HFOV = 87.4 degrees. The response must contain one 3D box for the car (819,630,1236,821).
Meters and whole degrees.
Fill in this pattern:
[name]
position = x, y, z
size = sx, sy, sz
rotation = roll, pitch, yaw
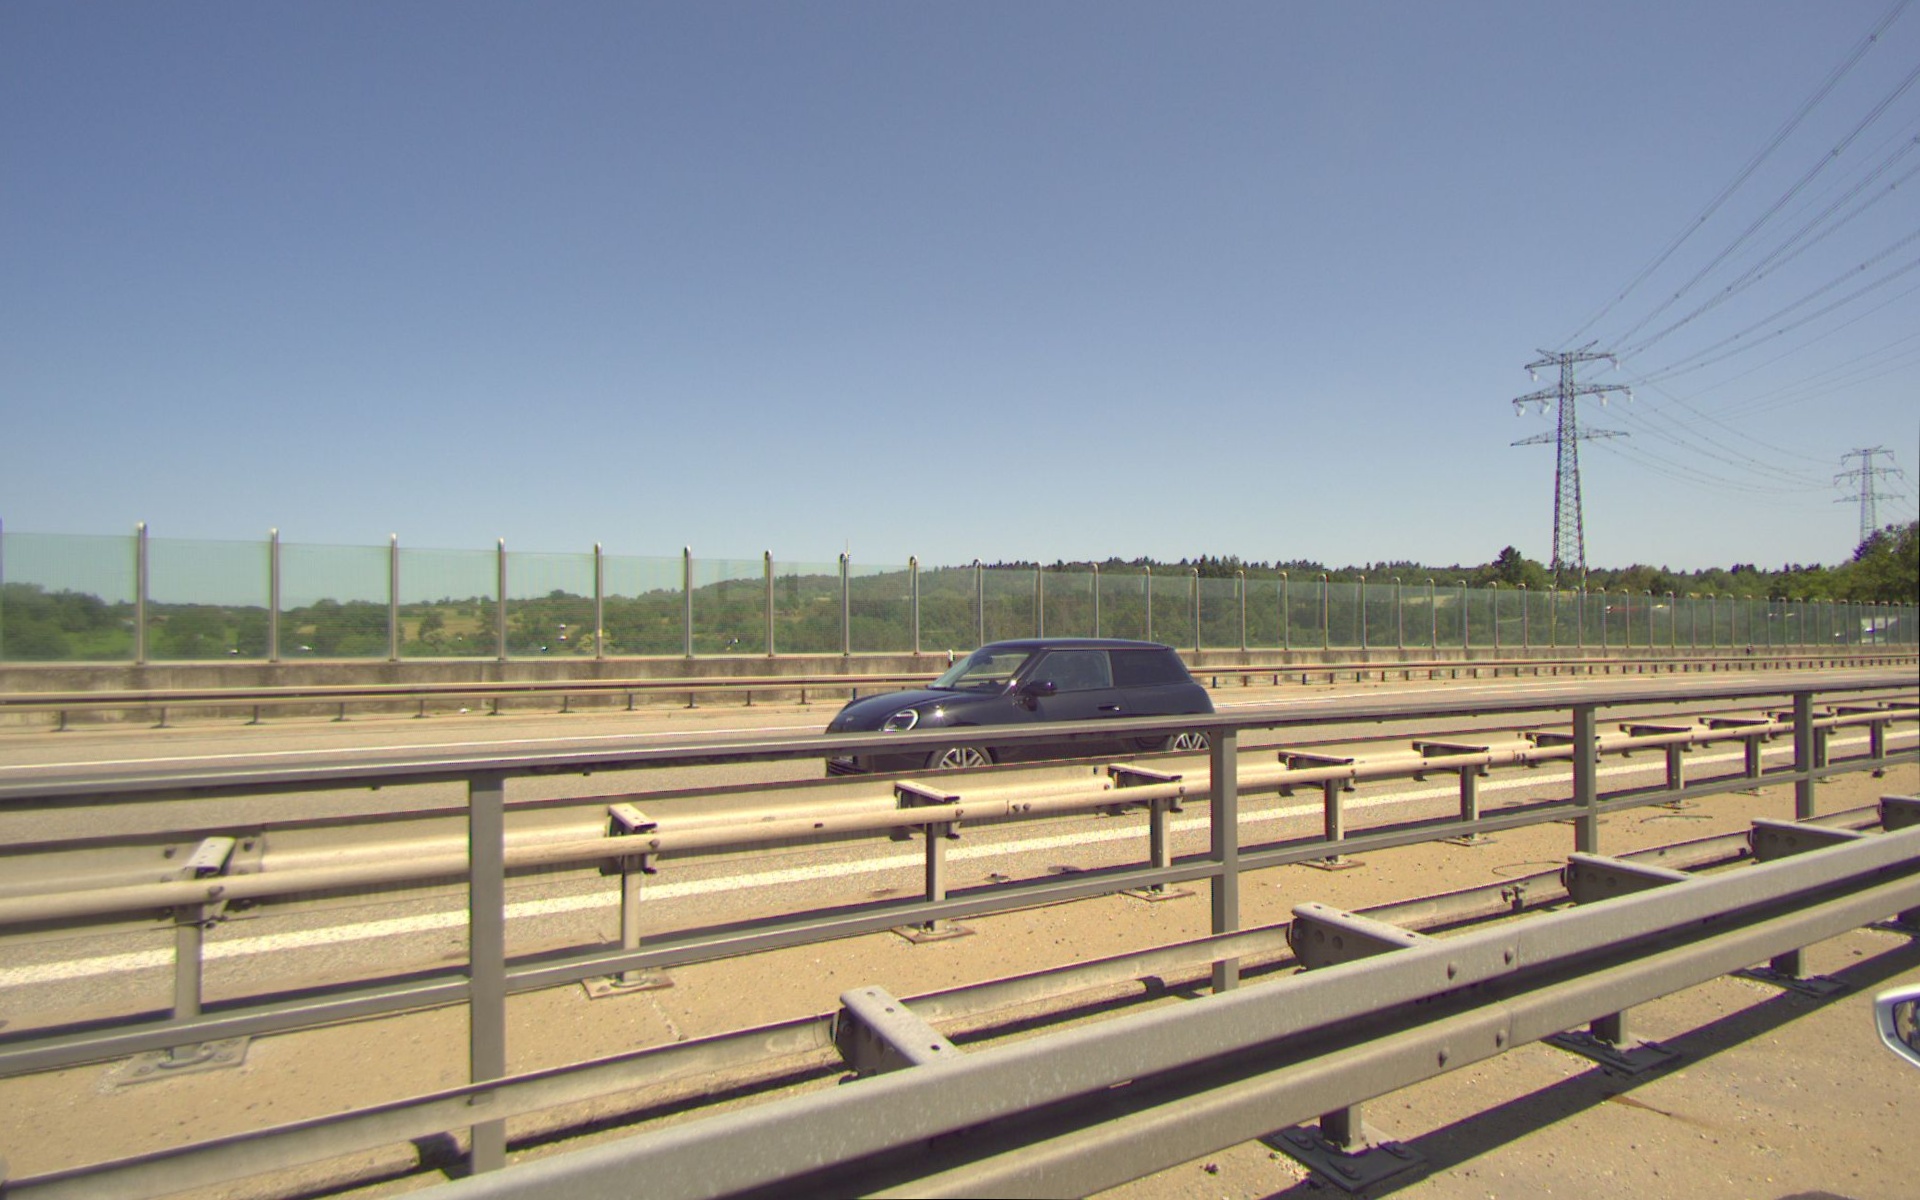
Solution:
[car]
position = 0.676, 1.043, 9.455
size = 3.658, 1.483, 1.612
rotation = 1, -3, -30
